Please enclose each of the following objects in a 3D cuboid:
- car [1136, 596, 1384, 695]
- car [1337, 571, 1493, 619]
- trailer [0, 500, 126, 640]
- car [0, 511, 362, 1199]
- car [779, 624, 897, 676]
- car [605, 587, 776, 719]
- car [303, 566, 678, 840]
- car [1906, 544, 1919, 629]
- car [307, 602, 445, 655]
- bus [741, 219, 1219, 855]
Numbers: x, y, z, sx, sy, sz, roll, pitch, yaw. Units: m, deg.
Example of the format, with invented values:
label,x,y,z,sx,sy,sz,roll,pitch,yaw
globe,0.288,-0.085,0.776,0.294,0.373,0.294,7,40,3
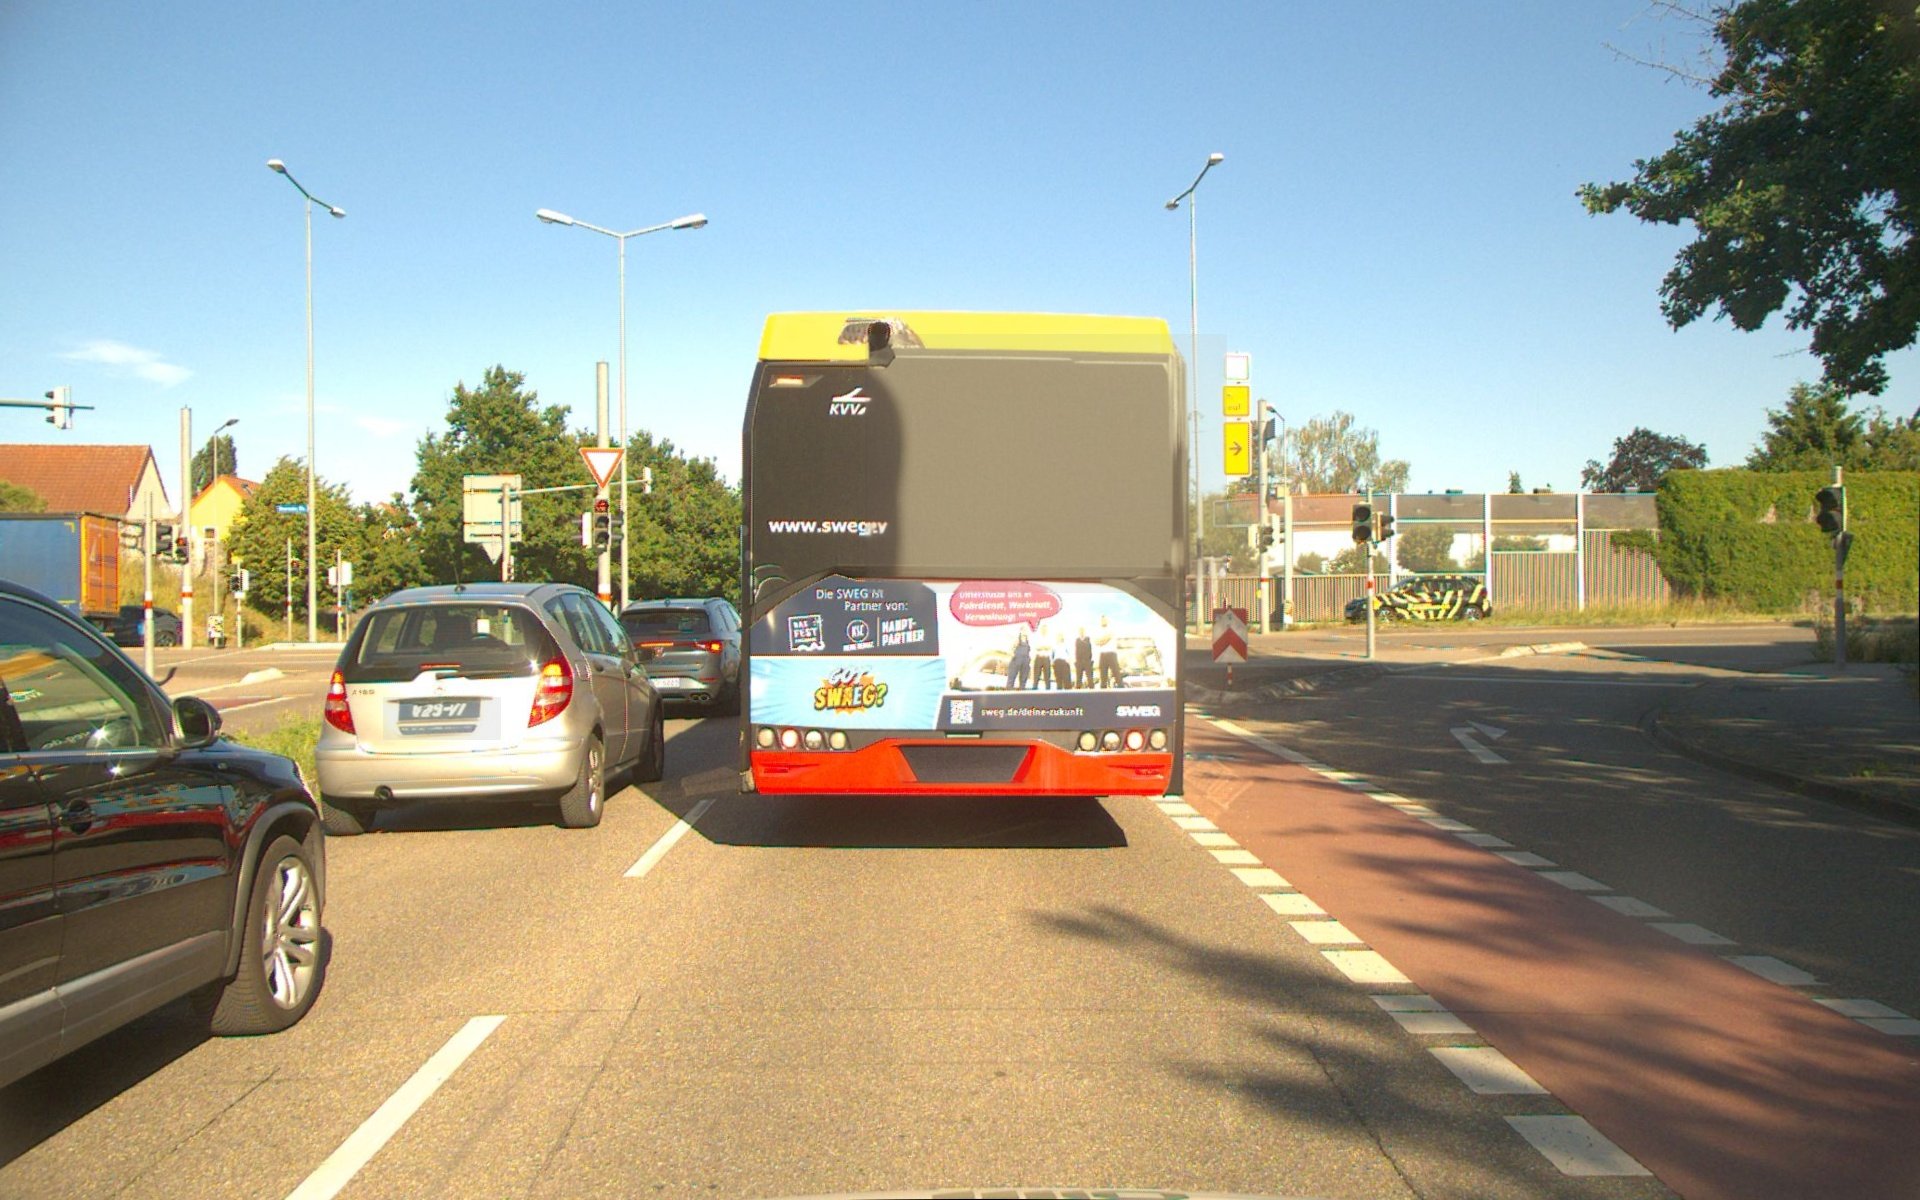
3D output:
label,x,y,z,sx,sy,sz,roll,pitch,yaw
car,4.345,0.640,24.235,3.447,1.325,1.576,1,1,8
car,13.183,-0.127,47.991,4.078,1.325,1.573,1,-1,-4
trailer,-31.882,-0.854,49.146,12.492,4.100,2.466,0,0,-8
car,-3.159,0.673,4.299,1.784,1.703,4.001,-2,-1,-1
car,-4.147,1.676,56.043,3.910,1.640,1.693,0,0,-7
car,-3.318,0.628,20.952,1.556,1.512,3.682,-1,-1,0
car,-3.215,0.588,12.150,1.718,1.648,4.032,0,1,-2
car,16.565,-0.181,25.906,3.355,1.318,1.448,1,-1,-26
car,-18.896,0.914,53.633,3.910,1.640,1.693,0,0,-7
bus,0.025,-0.353,14.900,2.543,3.393,11.981,1,0,-1
